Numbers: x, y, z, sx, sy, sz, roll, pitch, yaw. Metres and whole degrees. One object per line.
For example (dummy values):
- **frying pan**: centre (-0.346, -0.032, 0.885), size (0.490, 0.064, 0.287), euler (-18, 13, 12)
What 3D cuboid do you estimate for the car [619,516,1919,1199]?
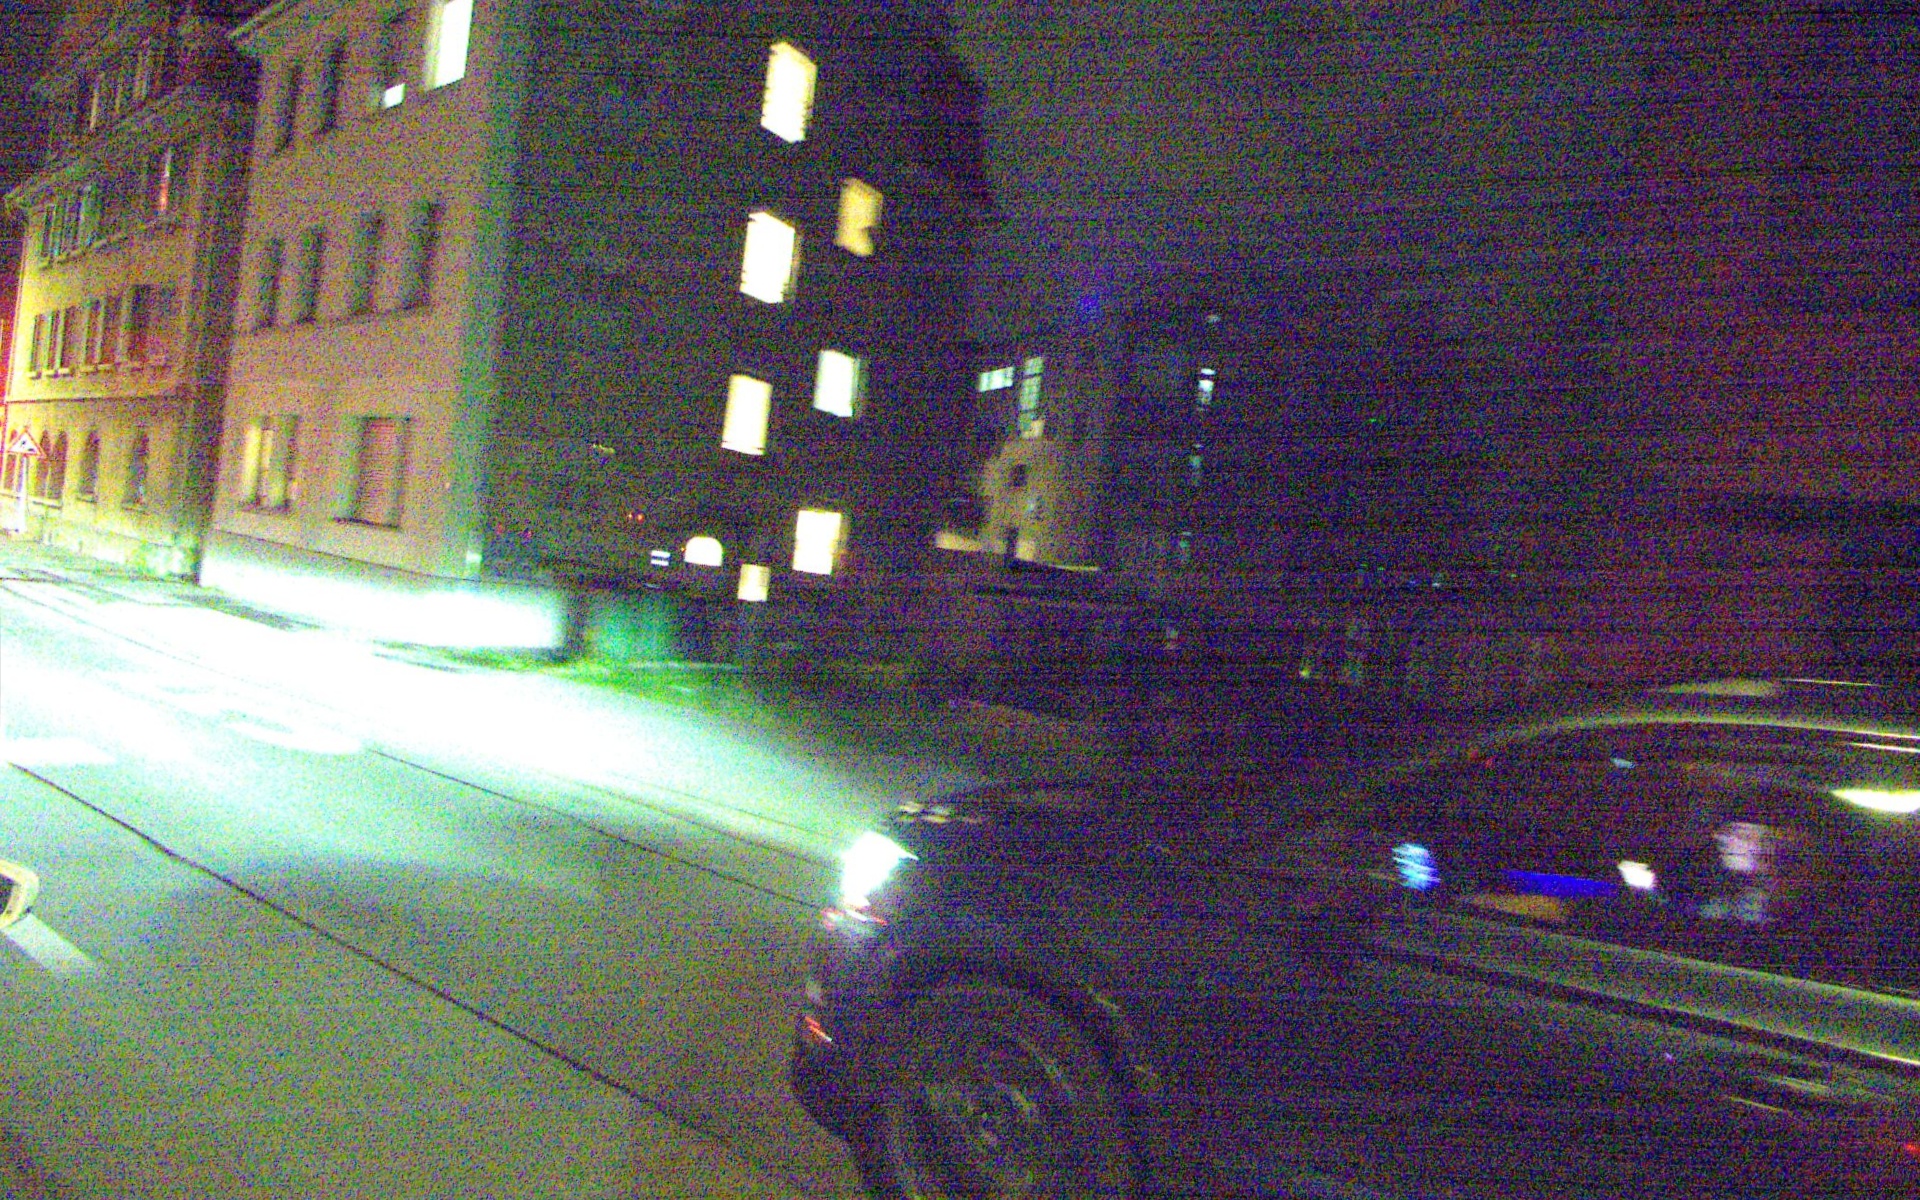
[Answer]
- **car**: centre (1.359, 0.850, 2.434), size (4.158, 1.629, 1.673), euler (6, -1, 30)
